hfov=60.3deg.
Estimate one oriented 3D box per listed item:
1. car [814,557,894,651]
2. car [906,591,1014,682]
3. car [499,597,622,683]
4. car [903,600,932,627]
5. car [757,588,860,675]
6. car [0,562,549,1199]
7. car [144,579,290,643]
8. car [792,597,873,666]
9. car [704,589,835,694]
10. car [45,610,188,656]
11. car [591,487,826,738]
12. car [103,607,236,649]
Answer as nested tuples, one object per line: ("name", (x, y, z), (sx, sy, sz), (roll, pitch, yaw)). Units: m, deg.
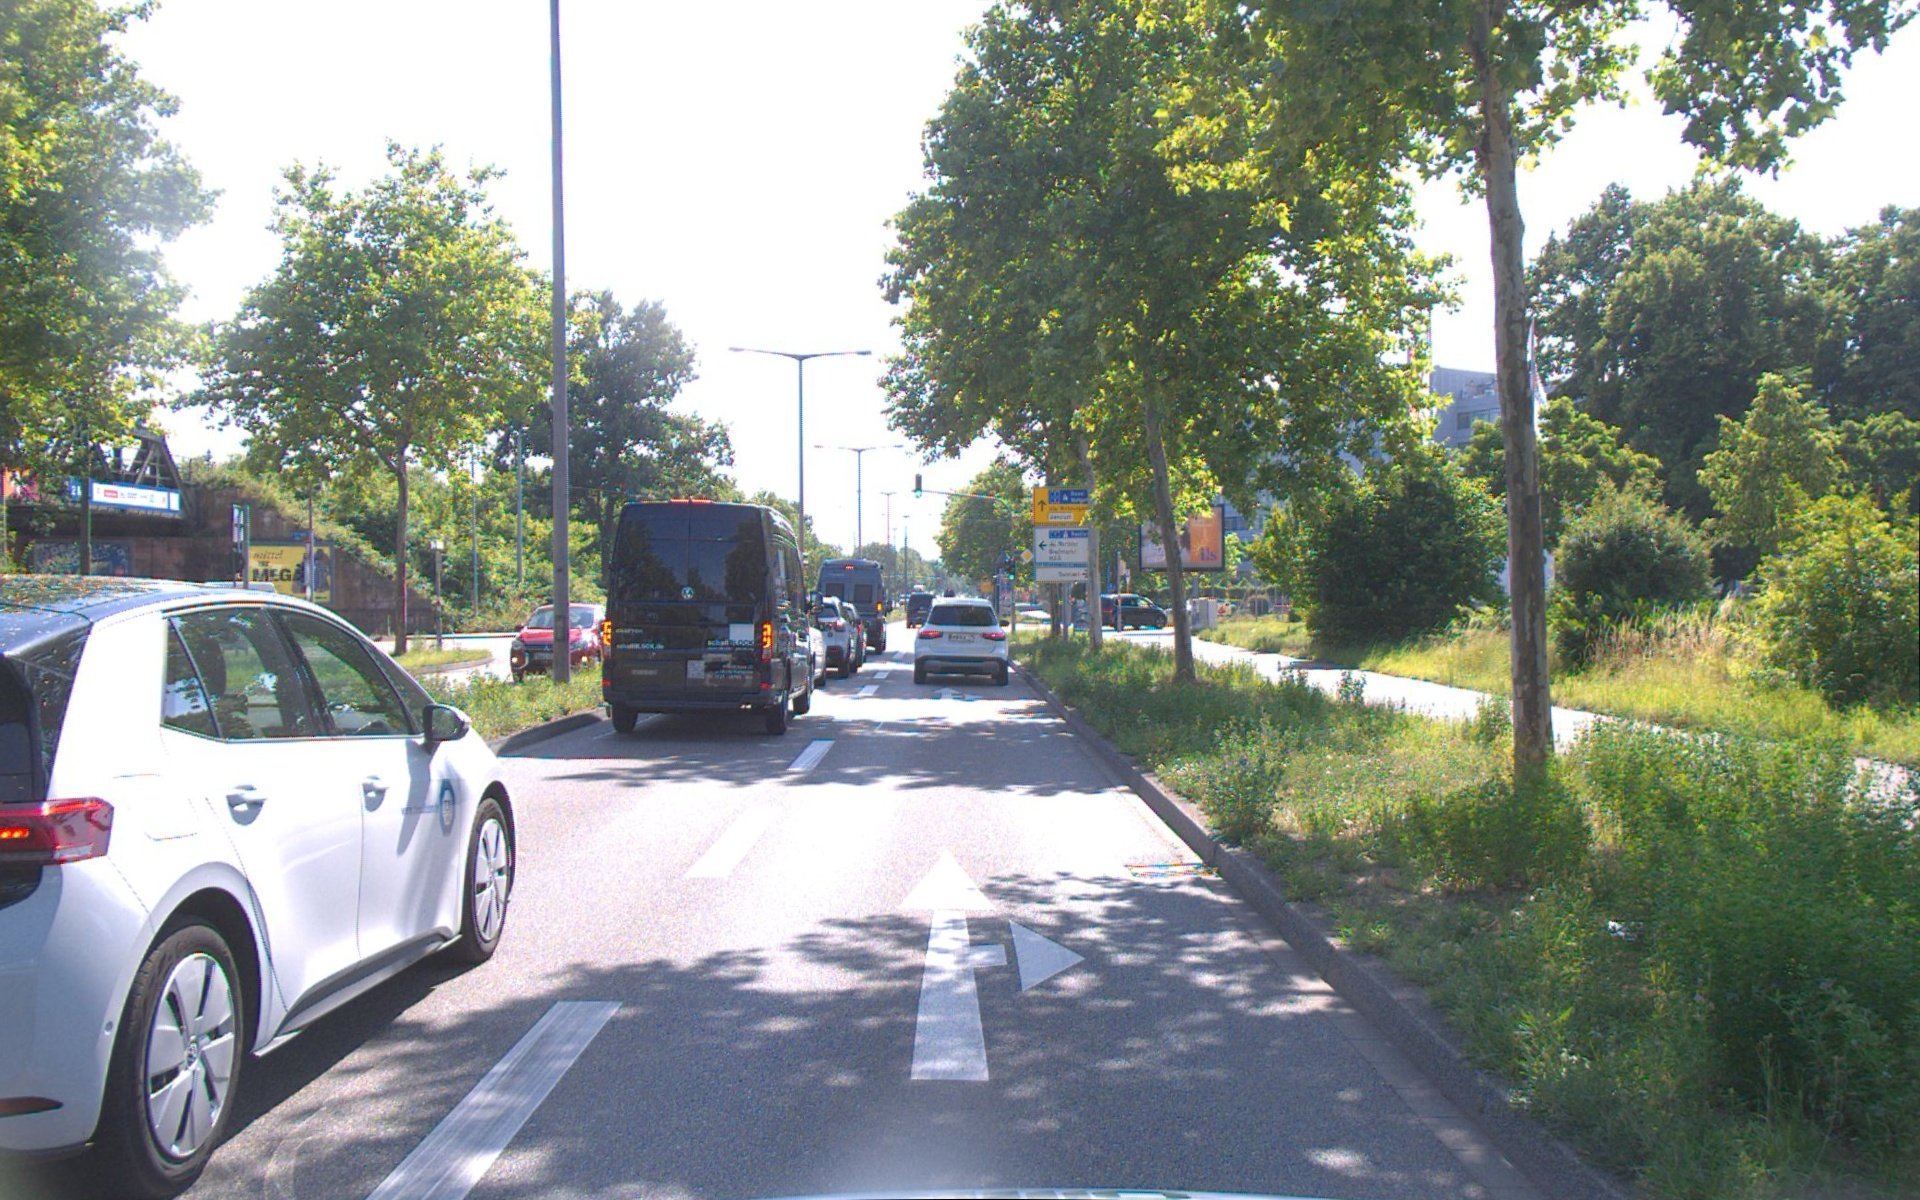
("car", (-3.173, 0.133, 50.329), (2.039, 2.703, 4.874), (1, 0, 0))
("car", (-0.061, 0.666, 32.641), (1.817, 1.635, 3.997), (1, 0, -4))
("car", (-7.847, 0.747, 32.825), (1.818, 1.611, 4.170), (0, 0, -6))
("car", (-2.242, 0.700, 87.854), (1.434, 1.428, 3.476), (1, 0, -1))
("car", (-3.077, 0.633, 34.242), (1.735, 1.676, 4.084), (0, 0, 0))
("car", (-2.772, 0.691, 5.473), (1.782, 1.548, 4.208), (0, 0, 0))
("car", (-29.942, 0.440, 66.720), (5.081, 2.461, 1.975), (0, 0, -36))
("car", (-3.030, 0.725, 40.009), (1.657, 1.531, 3.885), (1, 0, 0))
("car", (-3.217, 0.674, 28.647), (1.735, 1.676, 4.352), (0, 0, 0))
("car", (-27.122, 1.043, 53.196), (3.950, 1.368, 1.861), (-1, 0, -33))
("car", (-2.927, 0.152, 20.723), (1.974, 2.653, 6.168), (1, 0, 0))
("car", (-29.169, 1.017, 61.084), (4.281, 1.451, 1.468), (-1, 0, -35))
